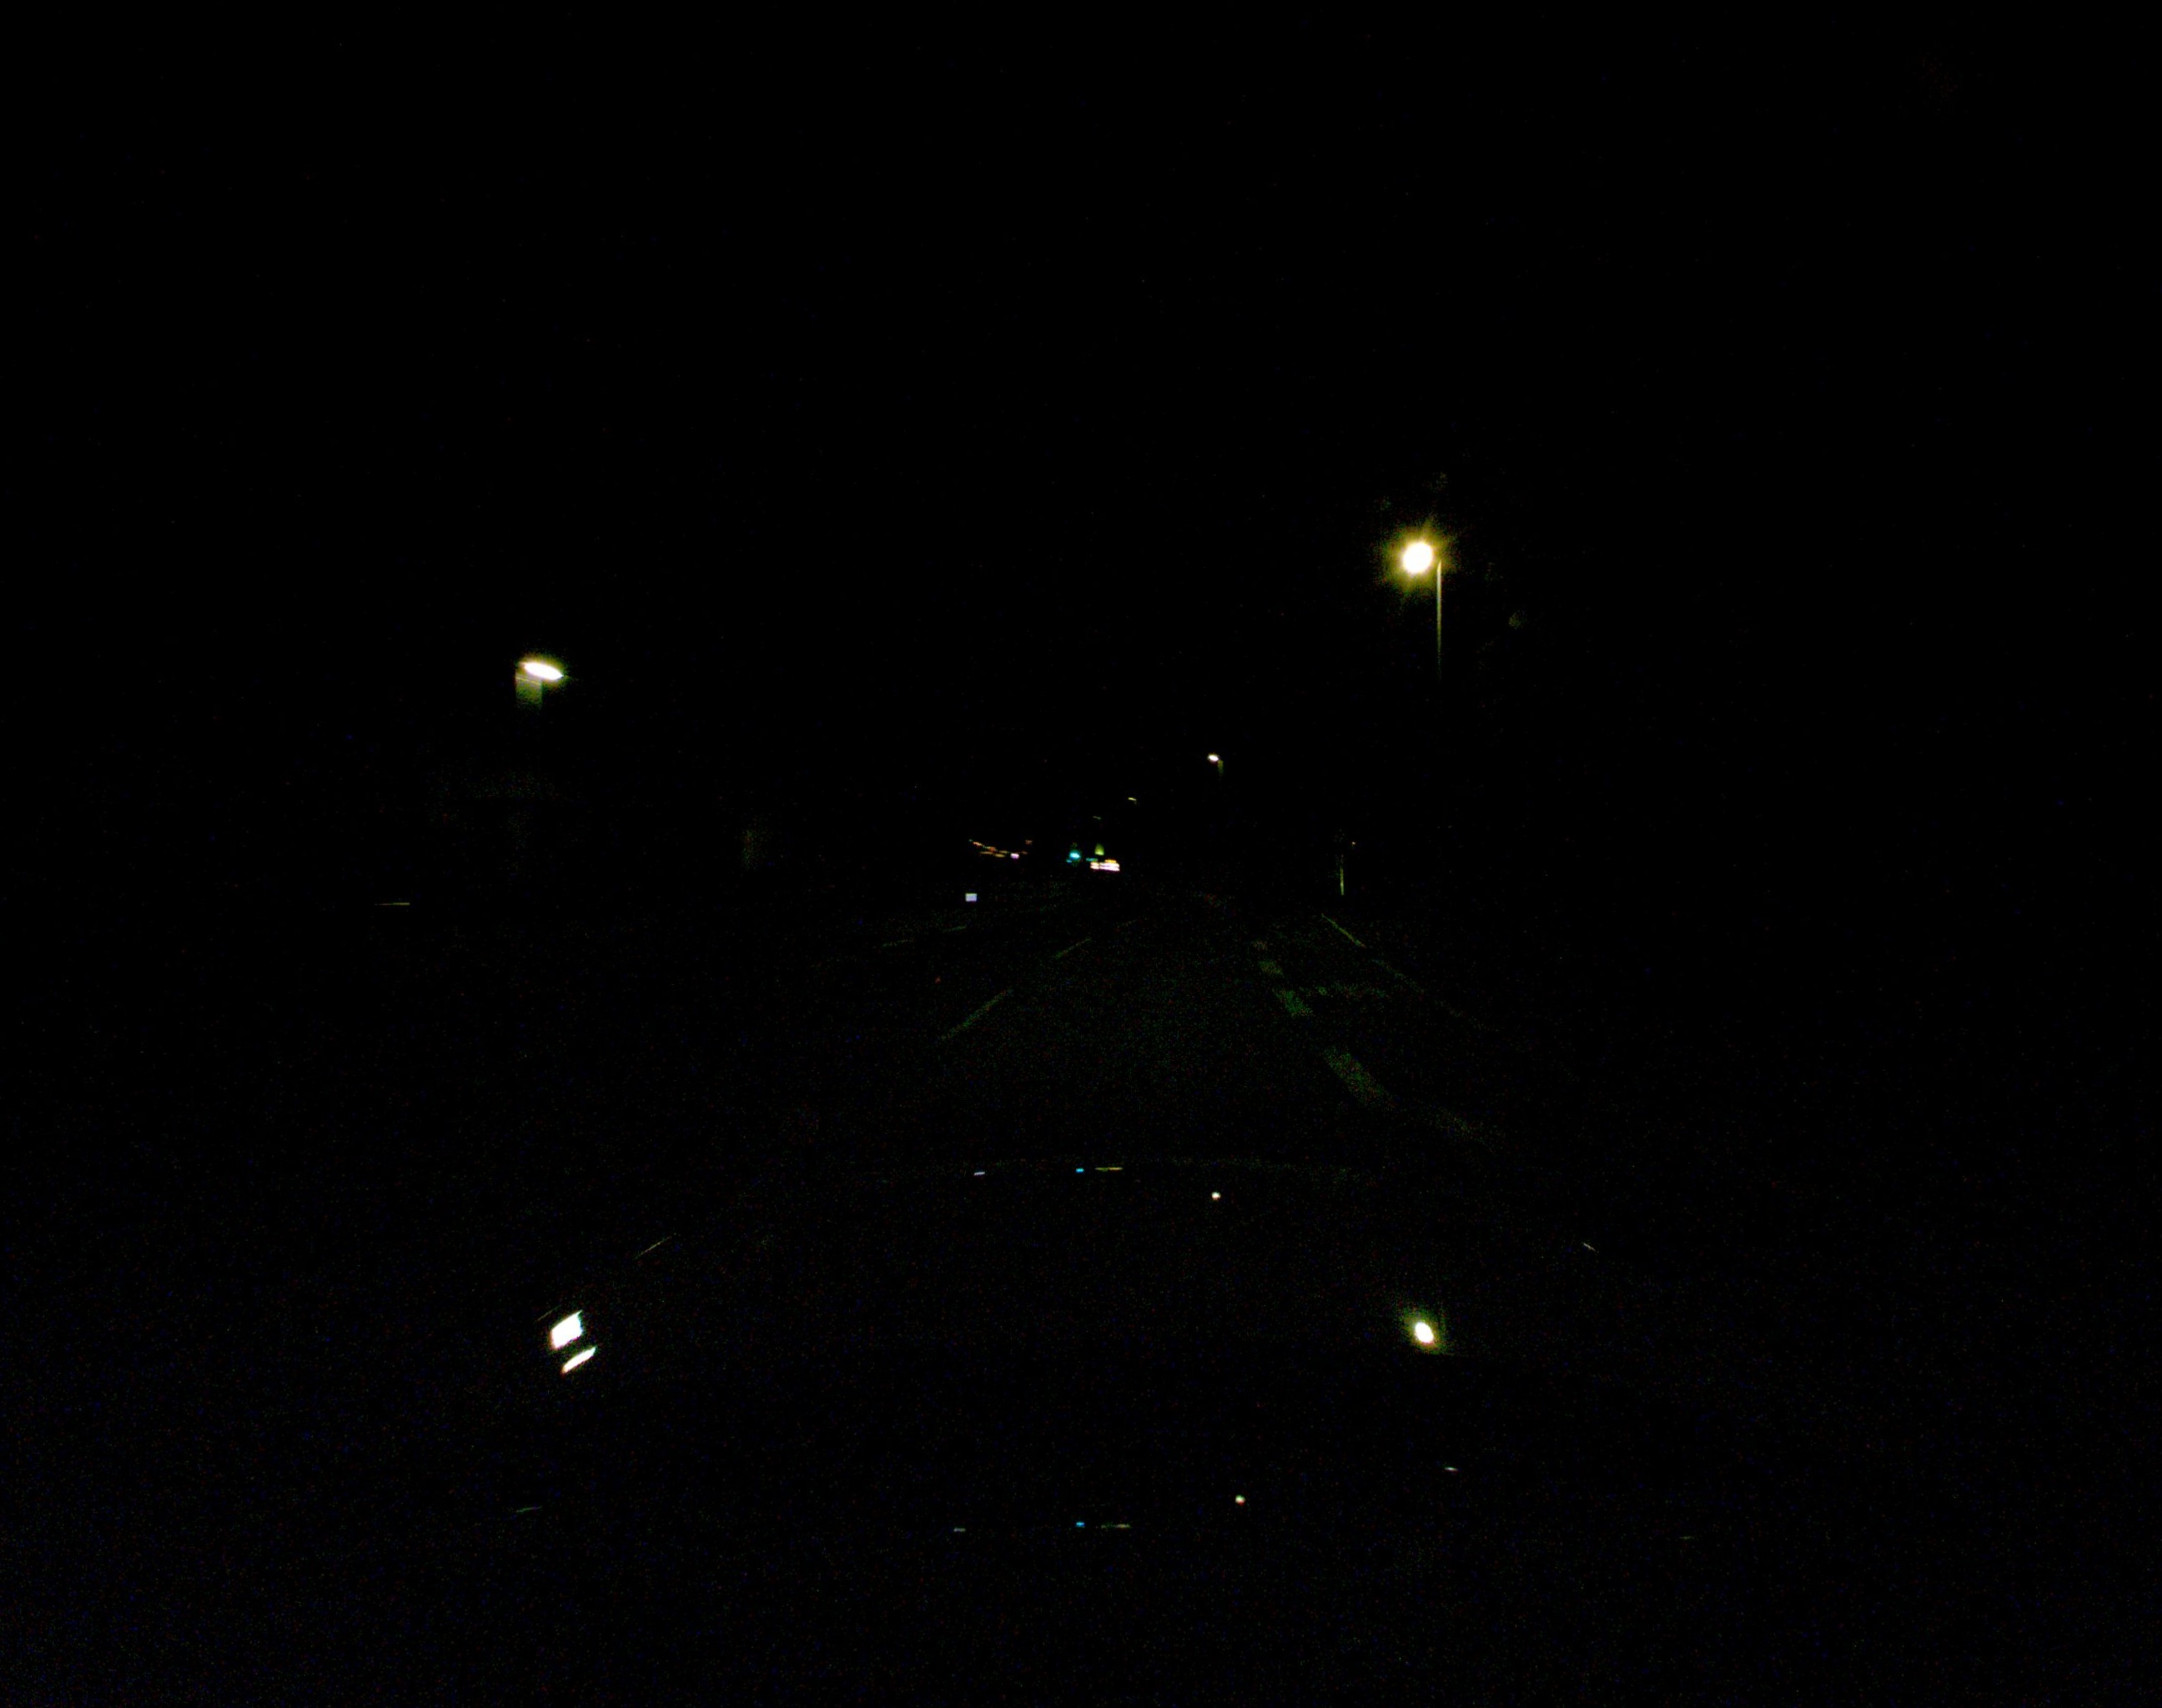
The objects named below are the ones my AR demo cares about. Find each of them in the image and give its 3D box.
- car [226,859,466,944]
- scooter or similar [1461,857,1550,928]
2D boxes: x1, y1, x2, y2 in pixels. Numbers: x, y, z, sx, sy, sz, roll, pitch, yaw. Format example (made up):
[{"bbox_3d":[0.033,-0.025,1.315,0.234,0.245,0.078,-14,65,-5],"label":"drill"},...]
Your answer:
[{"bbox_3d":[-15.186,0.944,16.918,3.689,1.627,1.788,-1,0,10],"label":"car"},{"bbox_3d":[8.051,0.697,15.531,0.612,1.281,1.684,0,0,-10],"label":"scooter or similar"}]
